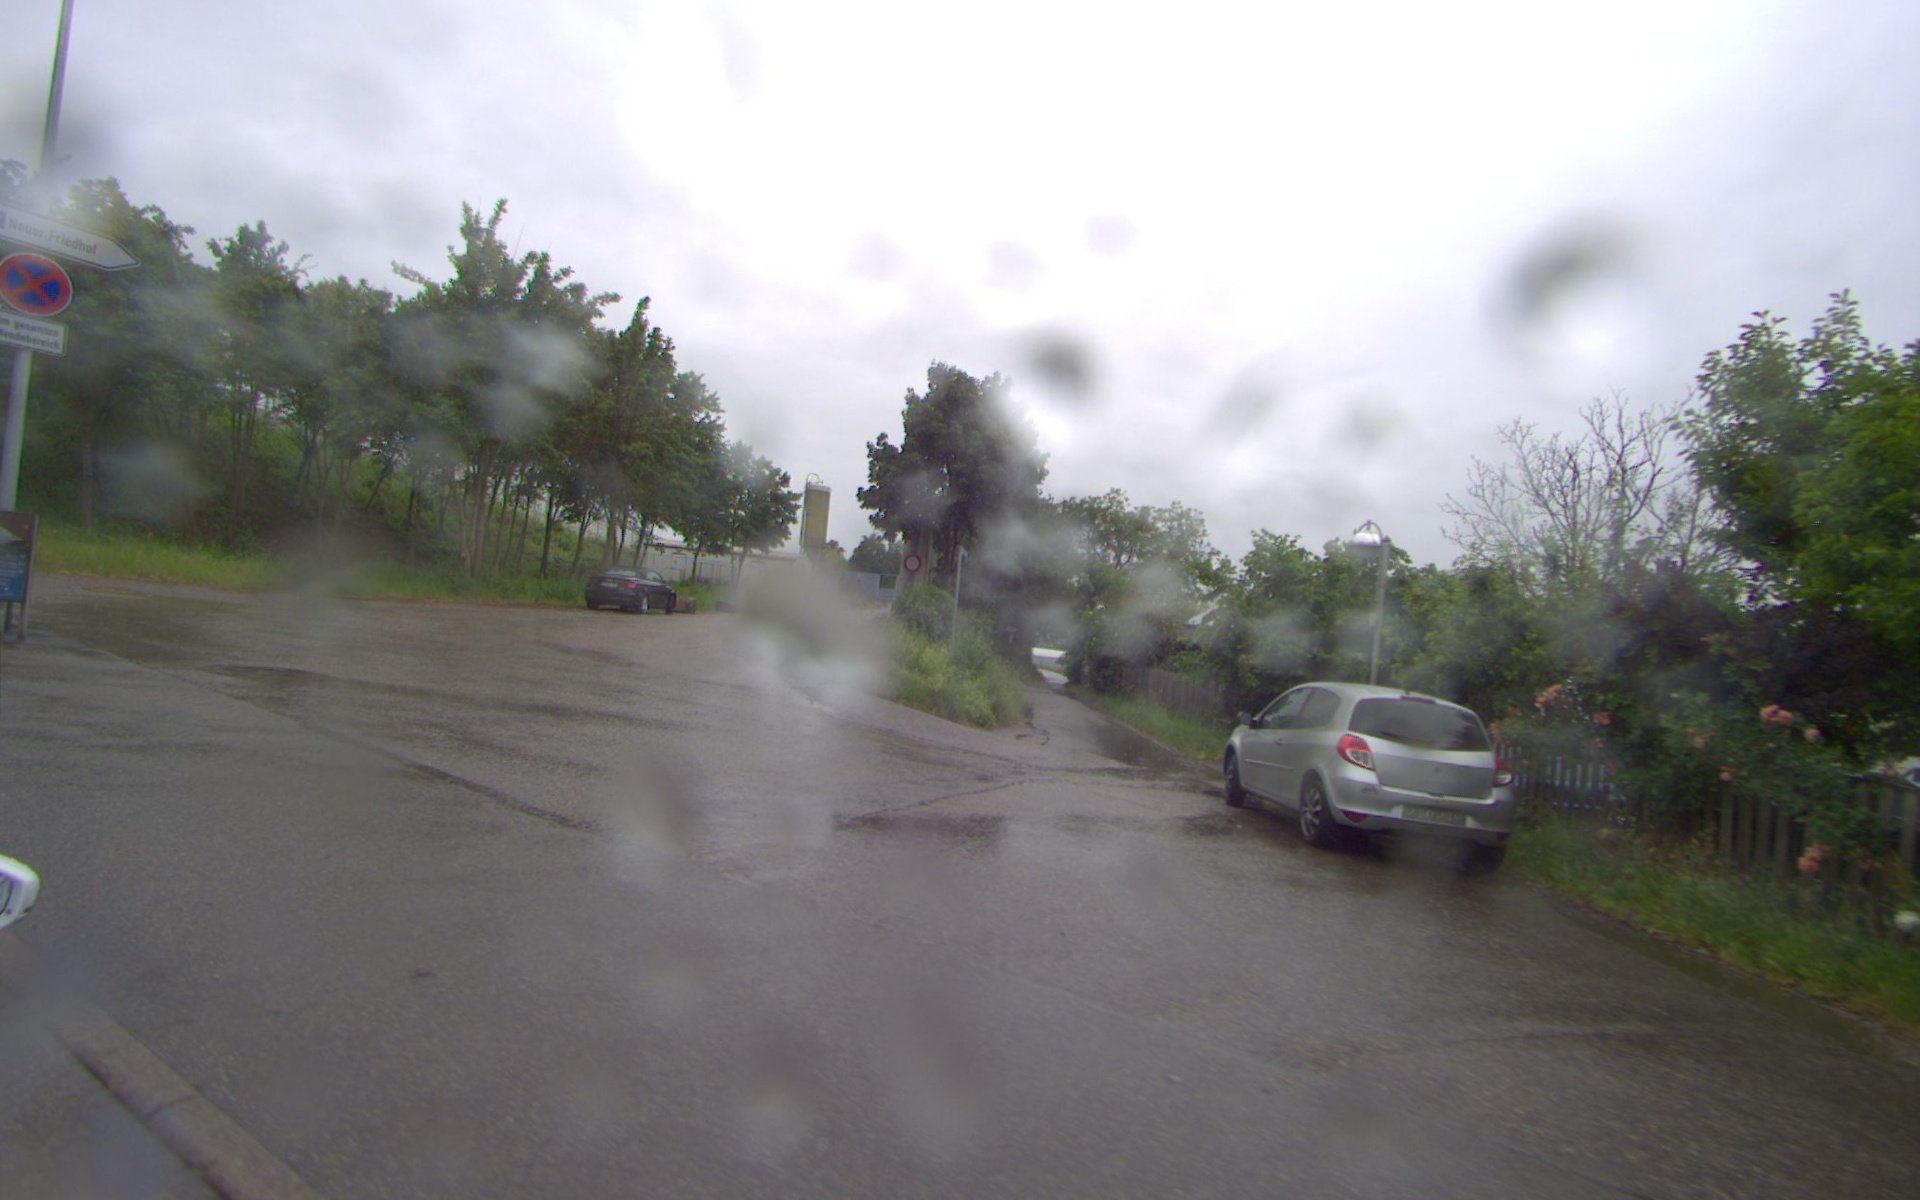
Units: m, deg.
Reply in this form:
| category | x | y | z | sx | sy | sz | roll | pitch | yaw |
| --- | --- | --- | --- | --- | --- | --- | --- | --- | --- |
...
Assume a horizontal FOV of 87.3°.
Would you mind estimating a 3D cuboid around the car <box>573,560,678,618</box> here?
| category | x | y | z | sx | sy | sz | roll | pitch | yaw |
| --- | --- | --- | --- | --- | --- | --- | --- | --- | --- |
| car | -10.357 | -0.294 | 31.478 | 1.870 | 1.374 | 4.113 | 7 | -2 | -2 |

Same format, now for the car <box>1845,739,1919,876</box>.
| category | x | y | z | sx | sy | sz | roll | pitch | yaw |
| --- | --- | --- | --- | --- | --- | --- | --- | --- | --- |
| car | 21.173 | 4.518 | 20.871 | 3.934 | 2.542 | 1.996 | 8 | 0 | -10 |

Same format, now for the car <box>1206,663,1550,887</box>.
| category | x | y | z | sx | sy | sz | roll | pitch | yaw |
| --- | --- | --- | --- | --- | --- | --- | --- | --- | --- |
| car | 3.926 | 1.567 | 10.233 | 1.688 | 1.549 | 3.859 | 7 | -2 | -1 |
